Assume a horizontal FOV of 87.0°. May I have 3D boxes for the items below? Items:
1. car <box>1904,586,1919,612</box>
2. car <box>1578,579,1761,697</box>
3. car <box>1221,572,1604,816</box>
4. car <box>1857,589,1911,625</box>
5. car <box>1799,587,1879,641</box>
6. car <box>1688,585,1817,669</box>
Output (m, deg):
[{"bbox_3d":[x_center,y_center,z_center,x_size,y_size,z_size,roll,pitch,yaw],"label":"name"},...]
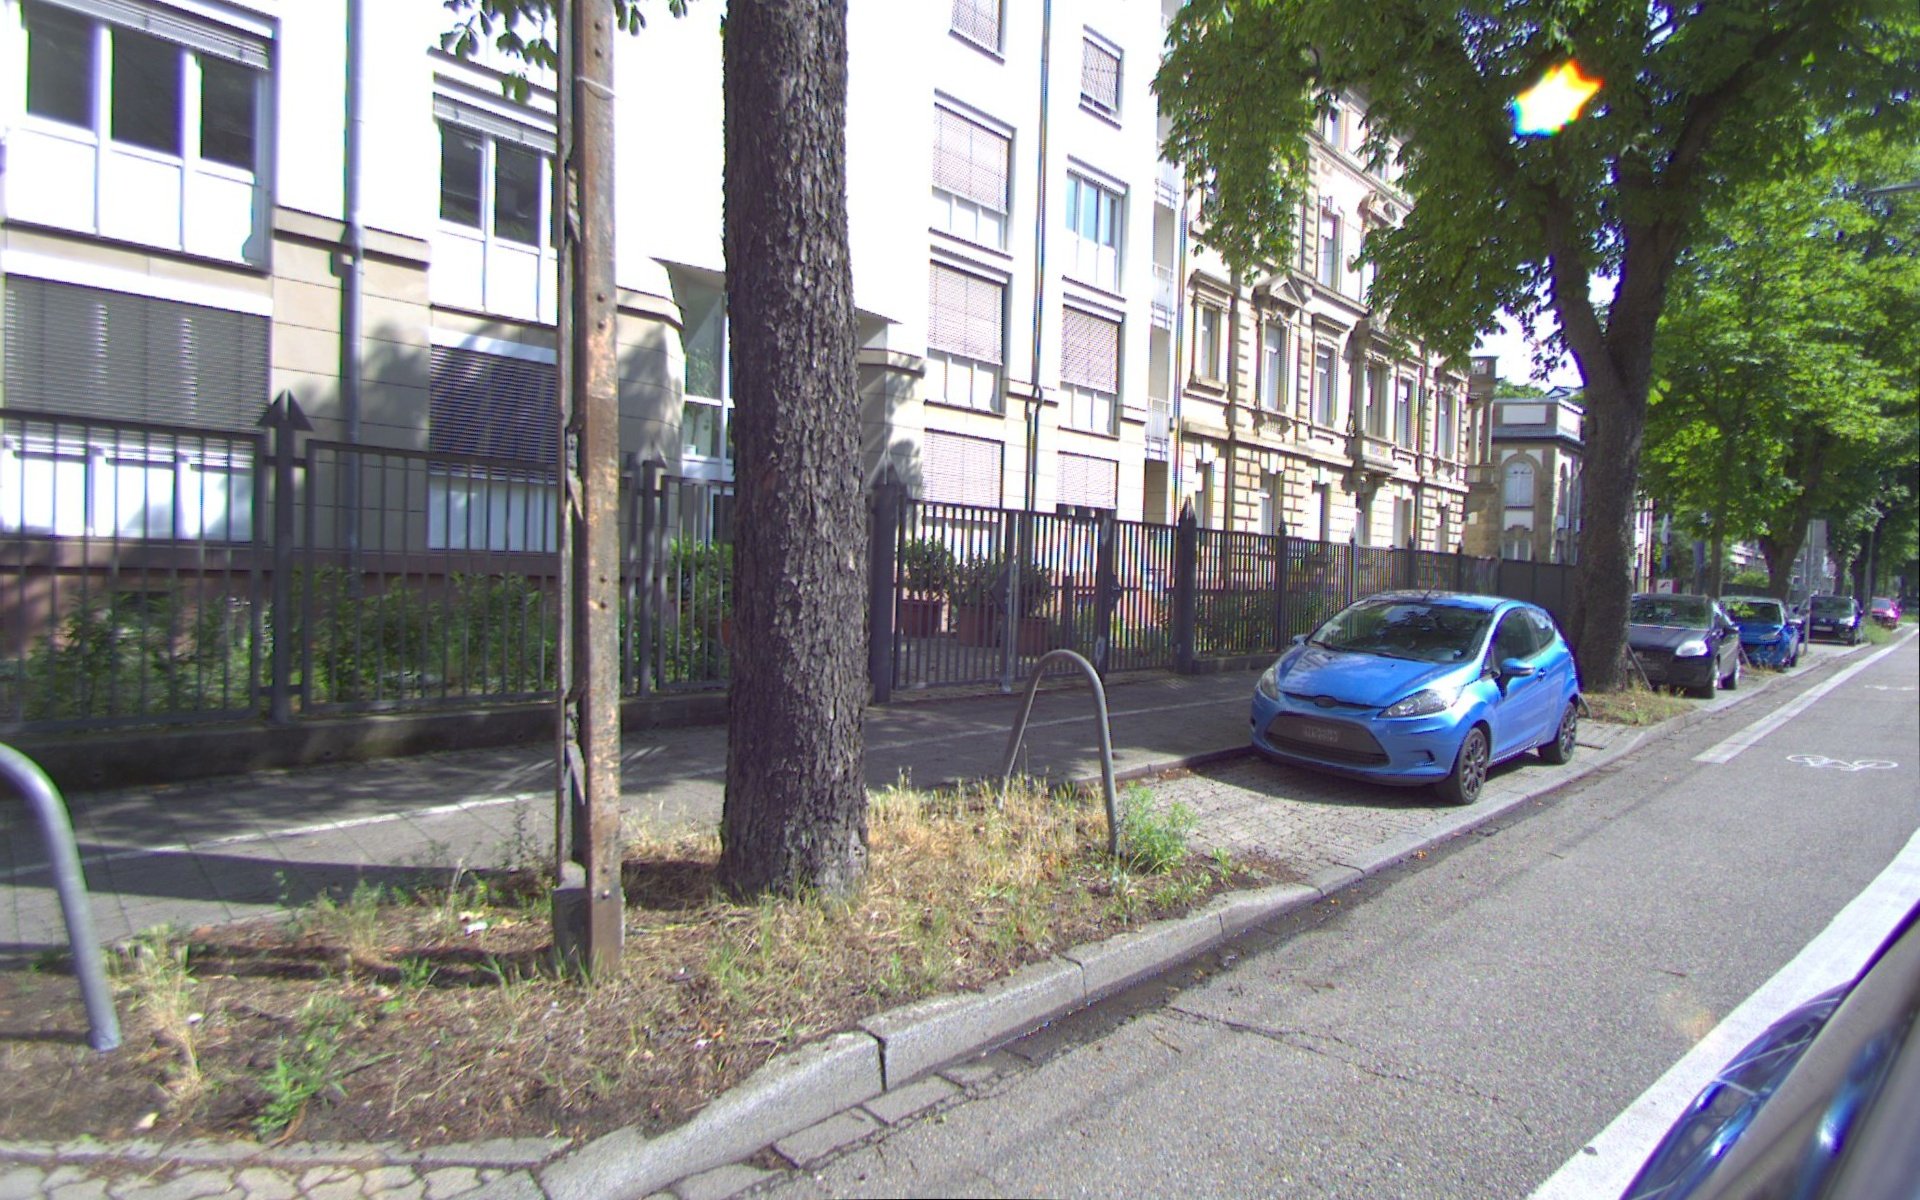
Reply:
[{"bbox_3d":[63.596,-0.025,66.768,1.741,1.592,3.867,7,5,44],"label":"car"},{"bbox_3d":[11.059,0.502,15.693,1.676,1.493,3.602,7,5,44],"label":"car"},{"bbox_3d":[3.913,0.602,8.480,3.601,1.493,1.644,0,5,-45],"label":"car"},{"bbox_3d":[45.849,0.335,50.211,1.741,1.592,3.867,7,5,44],"label":"car"},{"bbox_3d":[29.797,0.447,34.279,1.741,1.592,3.602,7,5,44],"label":"car"},{"bbox_3d":[16.799,0.507,21.397,1.676,1.493,3.602,7,5,44],"label":"car"}]
